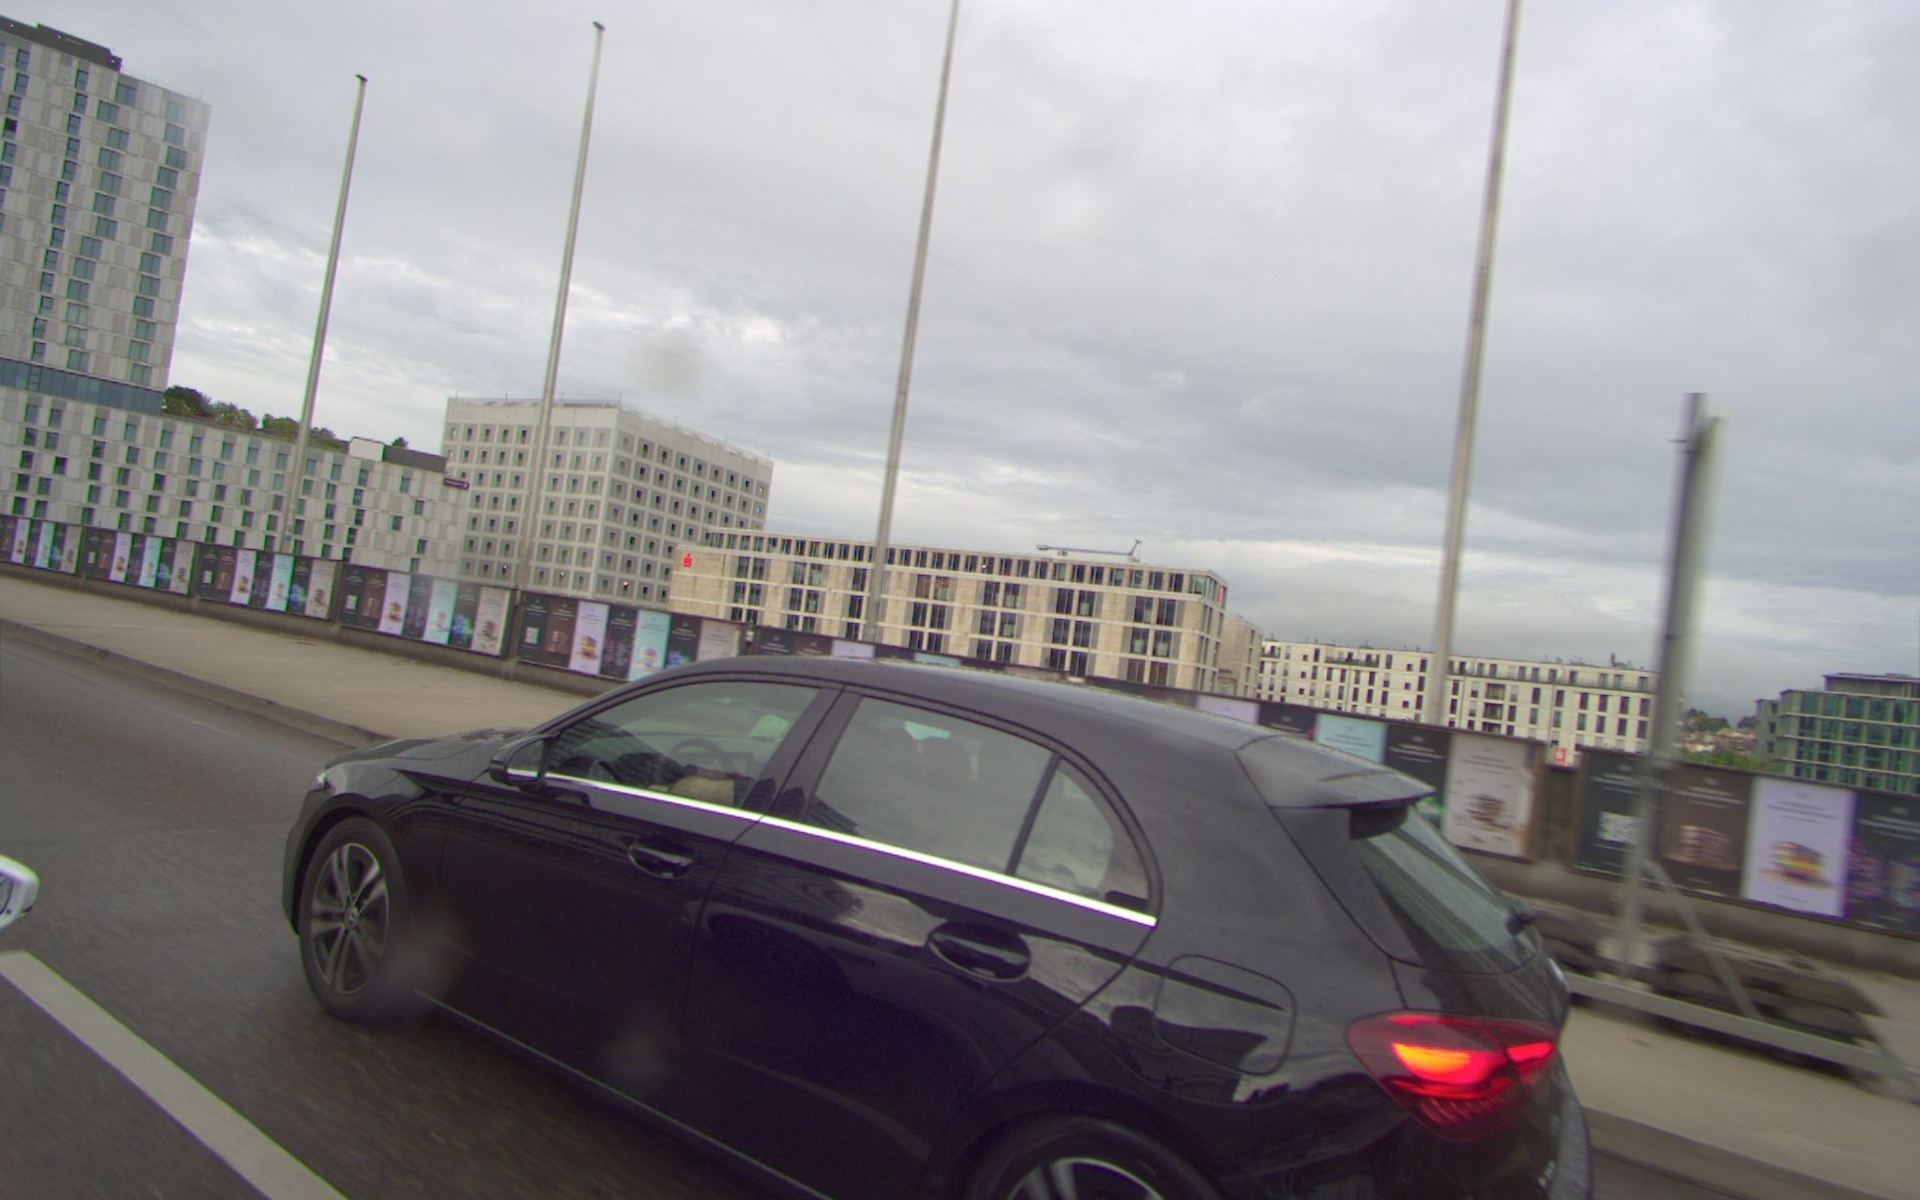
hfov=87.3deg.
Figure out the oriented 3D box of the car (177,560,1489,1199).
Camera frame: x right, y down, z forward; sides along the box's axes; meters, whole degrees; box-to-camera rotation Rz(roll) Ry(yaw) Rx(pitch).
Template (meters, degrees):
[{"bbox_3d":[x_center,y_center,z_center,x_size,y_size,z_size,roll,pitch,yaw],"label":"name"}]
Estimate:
[{"bbox_3d":[-0.628,0.775,3.380,4.086,1.392,1.726,5,-3,31],"label":"car"}]
